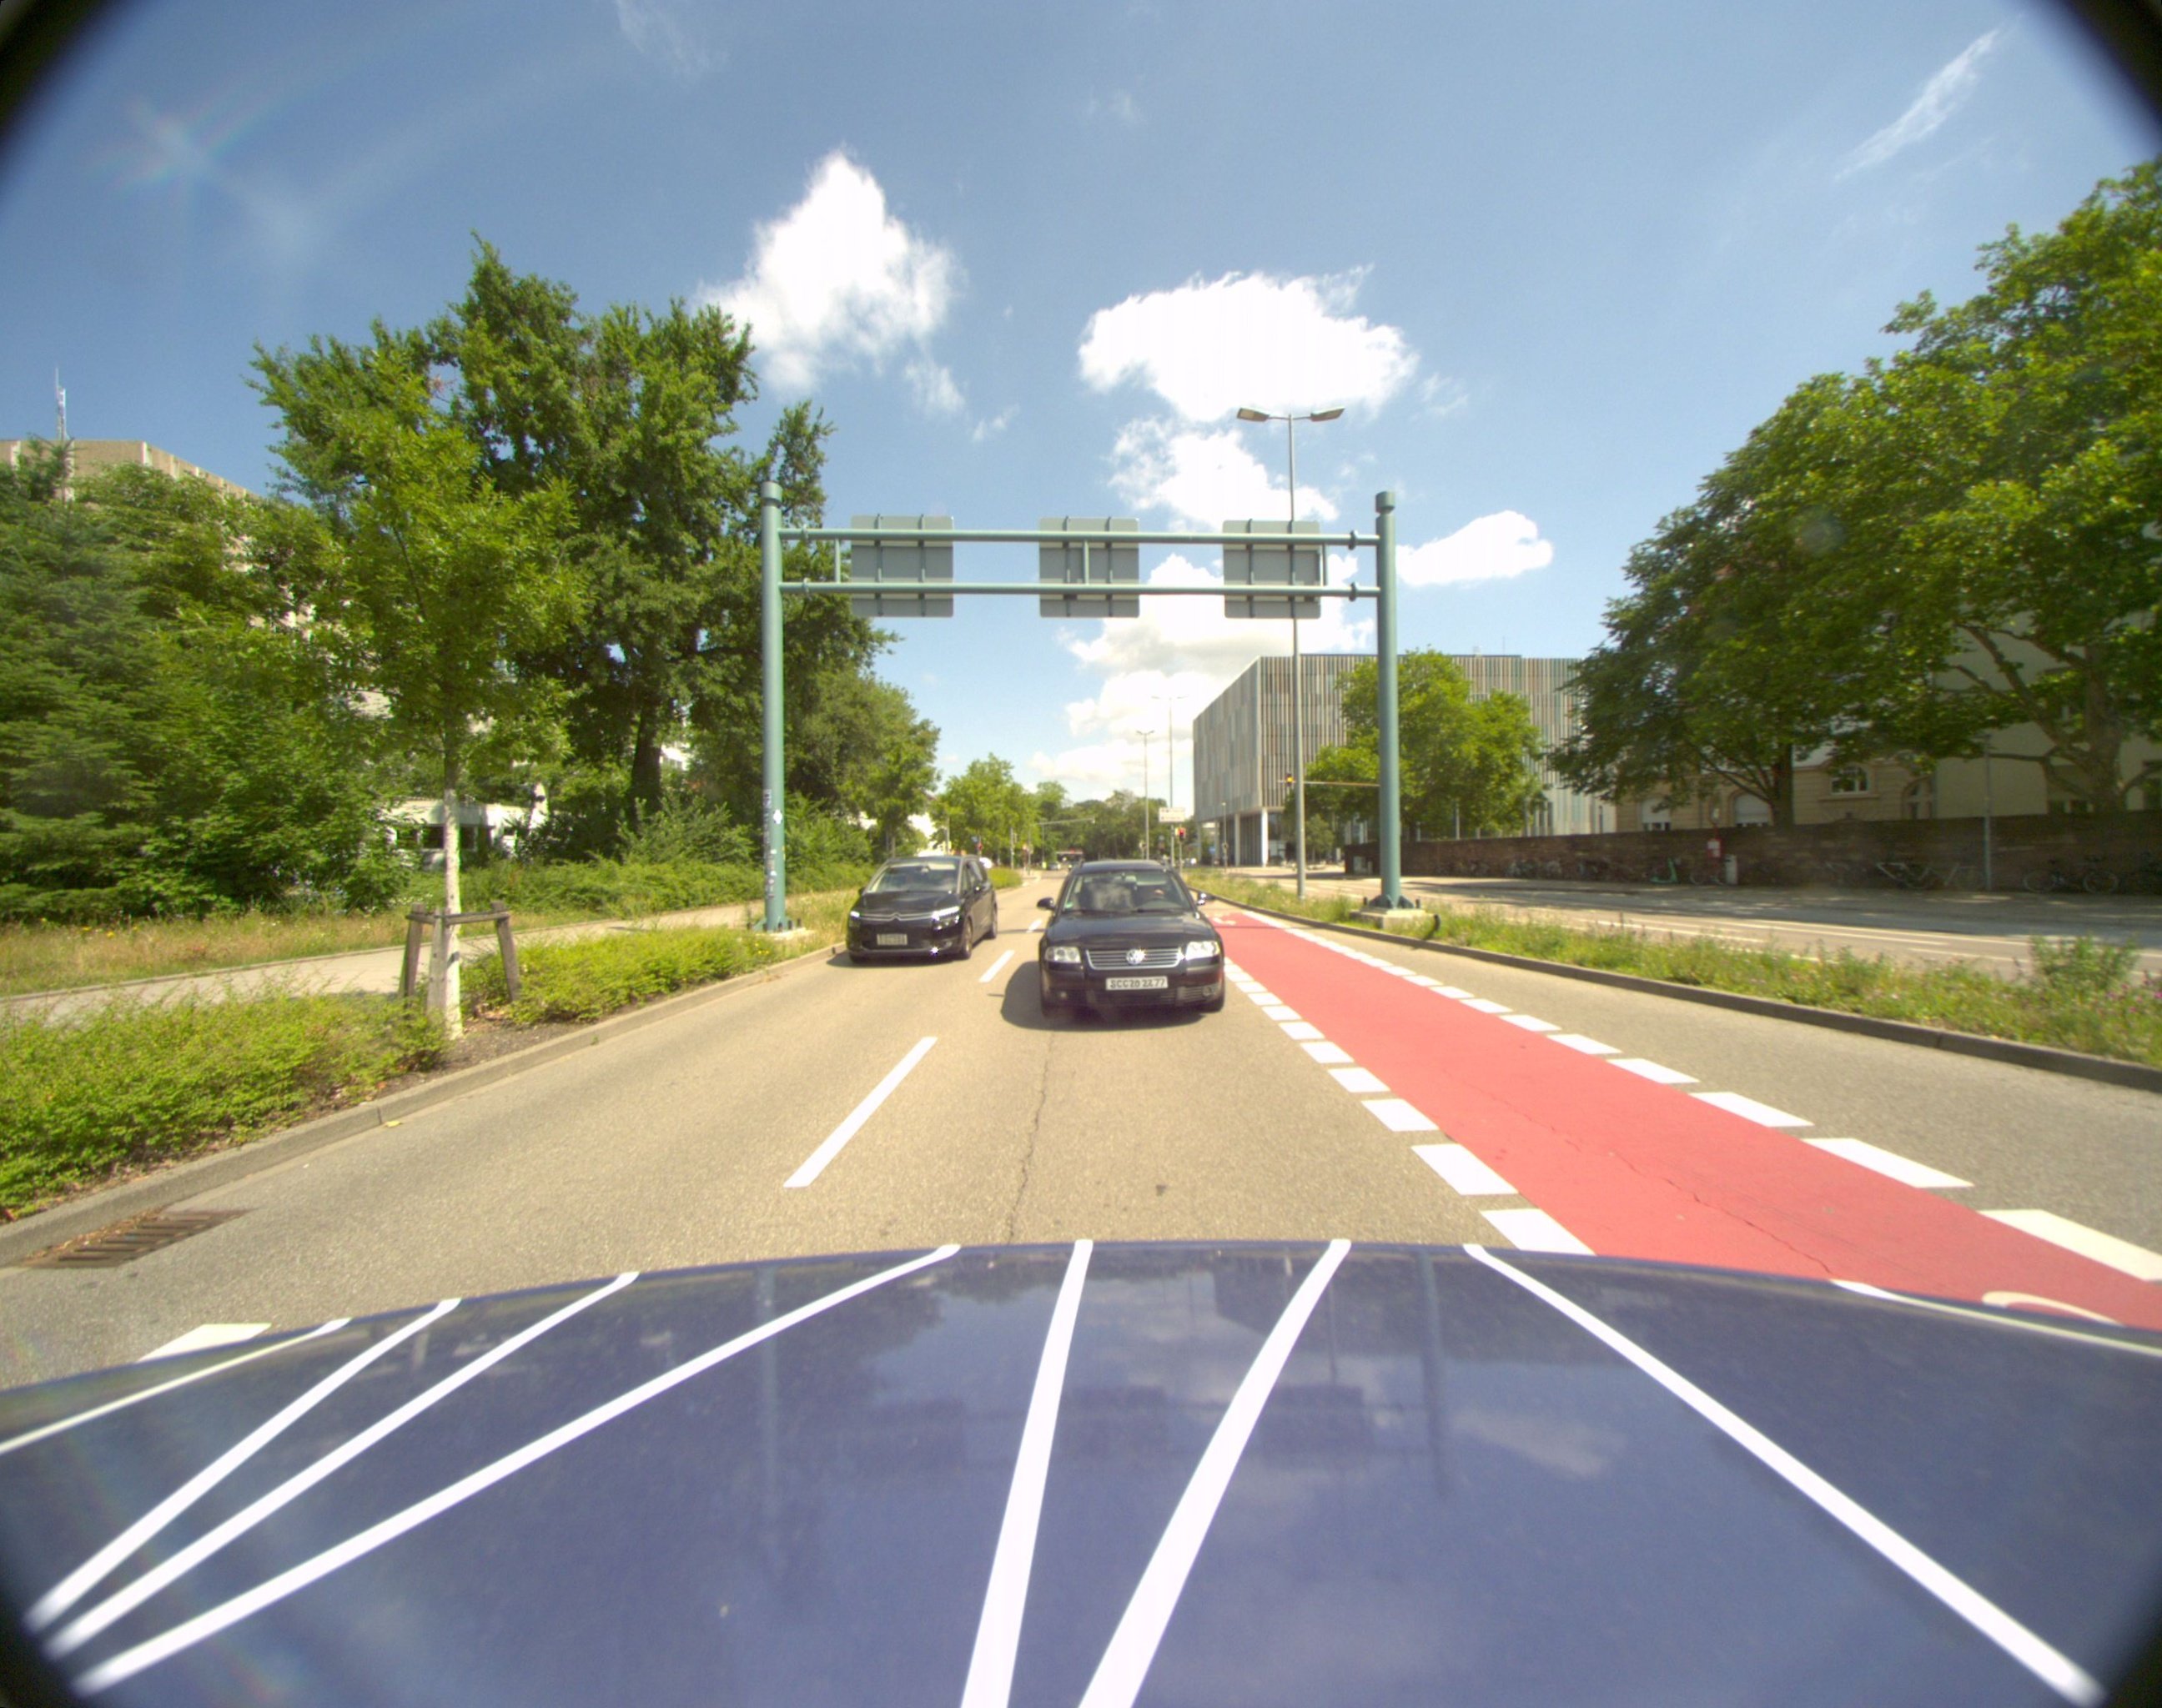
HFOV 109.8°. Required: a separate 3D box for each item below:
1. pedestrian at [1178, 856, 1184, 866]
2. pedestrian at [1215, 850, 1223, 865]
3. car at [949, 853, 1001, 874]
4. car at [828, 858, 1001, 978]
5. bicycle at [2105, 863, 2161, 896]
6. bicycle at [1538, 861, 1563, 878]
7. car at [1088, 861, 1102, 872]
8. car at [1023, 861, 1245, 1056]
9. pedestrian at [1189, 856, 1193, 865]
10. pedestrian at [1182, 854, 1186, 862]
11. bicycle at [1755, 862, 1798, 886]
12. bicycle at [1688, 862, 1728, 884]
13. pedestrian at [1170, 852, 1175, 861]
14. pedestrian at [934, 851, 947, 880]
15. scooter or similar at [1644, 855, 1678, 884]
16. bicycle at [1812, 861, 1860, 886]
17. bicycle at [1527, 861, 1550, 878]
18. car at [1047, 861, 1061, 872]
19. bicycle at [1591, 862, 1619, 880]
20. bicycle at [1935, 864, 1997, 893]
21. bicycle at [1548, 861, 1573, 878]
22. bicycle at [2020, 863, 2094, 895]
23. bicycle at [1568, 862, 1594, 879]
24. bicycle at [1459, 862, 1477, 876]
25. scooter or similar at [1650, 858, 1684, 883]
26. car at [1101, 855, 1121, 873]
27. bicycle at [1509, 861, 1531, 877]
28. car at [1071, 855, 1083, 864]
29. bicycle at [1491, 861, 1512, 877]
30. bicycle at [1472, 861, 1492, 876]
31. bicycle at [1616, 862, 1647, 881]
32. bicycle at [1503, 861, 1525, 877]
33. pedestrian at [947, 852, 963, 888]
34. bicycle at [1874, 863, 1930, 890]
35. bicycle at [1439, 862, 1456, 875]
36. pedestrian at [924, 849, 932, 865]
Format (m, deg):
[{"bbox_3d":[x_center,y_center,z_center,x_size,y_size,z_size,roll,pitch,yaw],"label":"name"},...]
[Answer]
[{"bbox_3d":[14.987,1.014,114.138,0.697,1.445,0.688,-1,0,-6],"label":"pedestrian"},{"bbox_3d":[18.864,0.435,104.114,0.864,2.002,0.995,-1,0,-1],"label":"pedestrian"},{"bbox_3d":[-9.432,0.835,68.080,4.477,1.598,1.817,-3,0,-5],"label":"car"},{"bbox_3d":[-2.554,0.902,12.842,1.816,1.598,4.479,-3,0,1],"label":"car"},{"bbox_3d":[27.130,0.652,19.368,0.265,0.826,1.234,-1,0,-13],"label":"bicycle"},{"bbox_3d":[23.215,0.750,37.553,0.265,0.826,1.234,-1,0,-11],"label":"bicycle"},{"bbox_3d":[1.890,1.686,103.798,1.806,1.361,4.157,-1,1,1],"label":"car"},{"bbox_3d":[0.457,0.864,8.405,1.723,1.472,4.594,-3,0,1],"label":"car"},{"bbox_3d":[18.154,1.015,125.256,0.696,1.445,0.689,-1,0,3],"label":"pedestrian"},{"bbox_3d":[17.648,0.711,129.966,0.696,1.445,0.689,-1,0,5],"label":"pedestrian"},{"bbox_3d":[25.192,0.708,27.542,0.265,0.826,1.235,-1,0,-11],"label":"bicycle"},{"bbox_3d":[24.822,0.741,30.102,0.265,0.826,1.233,-1,0,-21],"label":"bicycle"},{"bbox_3d":[16.428,0.511,136.538,0.864,1.647,0.995,-1,0,-1],"label":"pedestrian"},{"bbox_3d":[-10.047,0.839,54.278,0.846,2.026,0.900,-1,0,-16],"label":"pedestrian"},{"bbox_3d":[23.814,0.624,31.217,0.265,1.182,1.234,-1,0,-11],"label":"scooter or similar"},{"bbox_3d":[25.687,0.647,25.872,0.265,0.826,1.235,-1,0,-11],"label":"bicycle"},{"bbox_3d":[23.473,0.788,39.019,0.265,0.826,1.235,-1,0,-11],"label":"bicycle"},{"bbox_3d":[-4.320,1.946,122.156,1.816,1.598,4.479,-3,0,1],"label":"car"},{"bbox_3d":[24.047,0.783,34.860,0.265,0.826,1.235,-1,0,-11],"label":"bicycle"},{"bbox_3d":[26.246,0.722,22.550,0.265,0.826,1.235,-1,0,-11],"label":"bicycle"},{"bbox_3d":[23.667,0.749,37.490,0.265,0.826,1.235,-1,0,-11],"label":"bicycle"},{"bbox_3d":[26.634,0.670,20.754,0.265,0.826,1.234,-1,0,-13],"label":"bicycle"},{"bbox_3d":[23.829,0.781,36.213,0.265,0.826,1.235,-1,0,-11],"label":"bicycle"},{"bbox_3d":[22.812,0.865,44.776,0.265,0.826,1.235,-1,0,-11],"label":"bicycle"},{"bbox_3d":[24.579,0.694,31.872,0.266,1.014,1.140,-1,0,-22],"label":"scooter or similar"},{"bbox_3d":[2.802,0.933,71.084,1.723,1.545,4.594,-3,0,1],"label":"car"},{"bbox_3d":[23.363,0.790,40.430,0.265,0.826,1.234,-1,0,-11],"label":"bicycle"},{"bbox_3d":[-0.636,0.805,117.392,1.806,1.361,4.157,-1,1,1],"label":"car"},{"bbox_3d":[23.157,0.818,41.825,0.265,0.826,1.234,-1,0,-11],"label":"bicycle"},{"bbox_3d":[22.932,0.815,43.451,0.265,0.826,1.234,-1,0,-11],"label":"bicycle"},{"bbox_3d":[24.170,0.771,33.378,0.265,0.826,1.235,-1,0,-11],"label":"bicycle"},{"bbox_3d":[22.869,0.796,40.108,0.265,0.826,1.234,-1,0,-11],"label":"bicycle"},{"bbox_3d":[-6.263,0.784,37.863,0.639,1.754,0.886,-1,0,-1],"label":"pedestrian"},{"bbox_3d":[25.979,0.701,24.060,0.265,0.826,1.235,-1,0,-11],"label":"bicycle"},{"bbox_3d":[22.495,0.886,46.671,0.265,0.826,1.235,-1,0,-11],"label":"bicycle"},{"bbox_3d":[-14.748,0.290,73.320,0.765,1.601,0.767,-1,0,-10],"label":"pedestrian"}]
